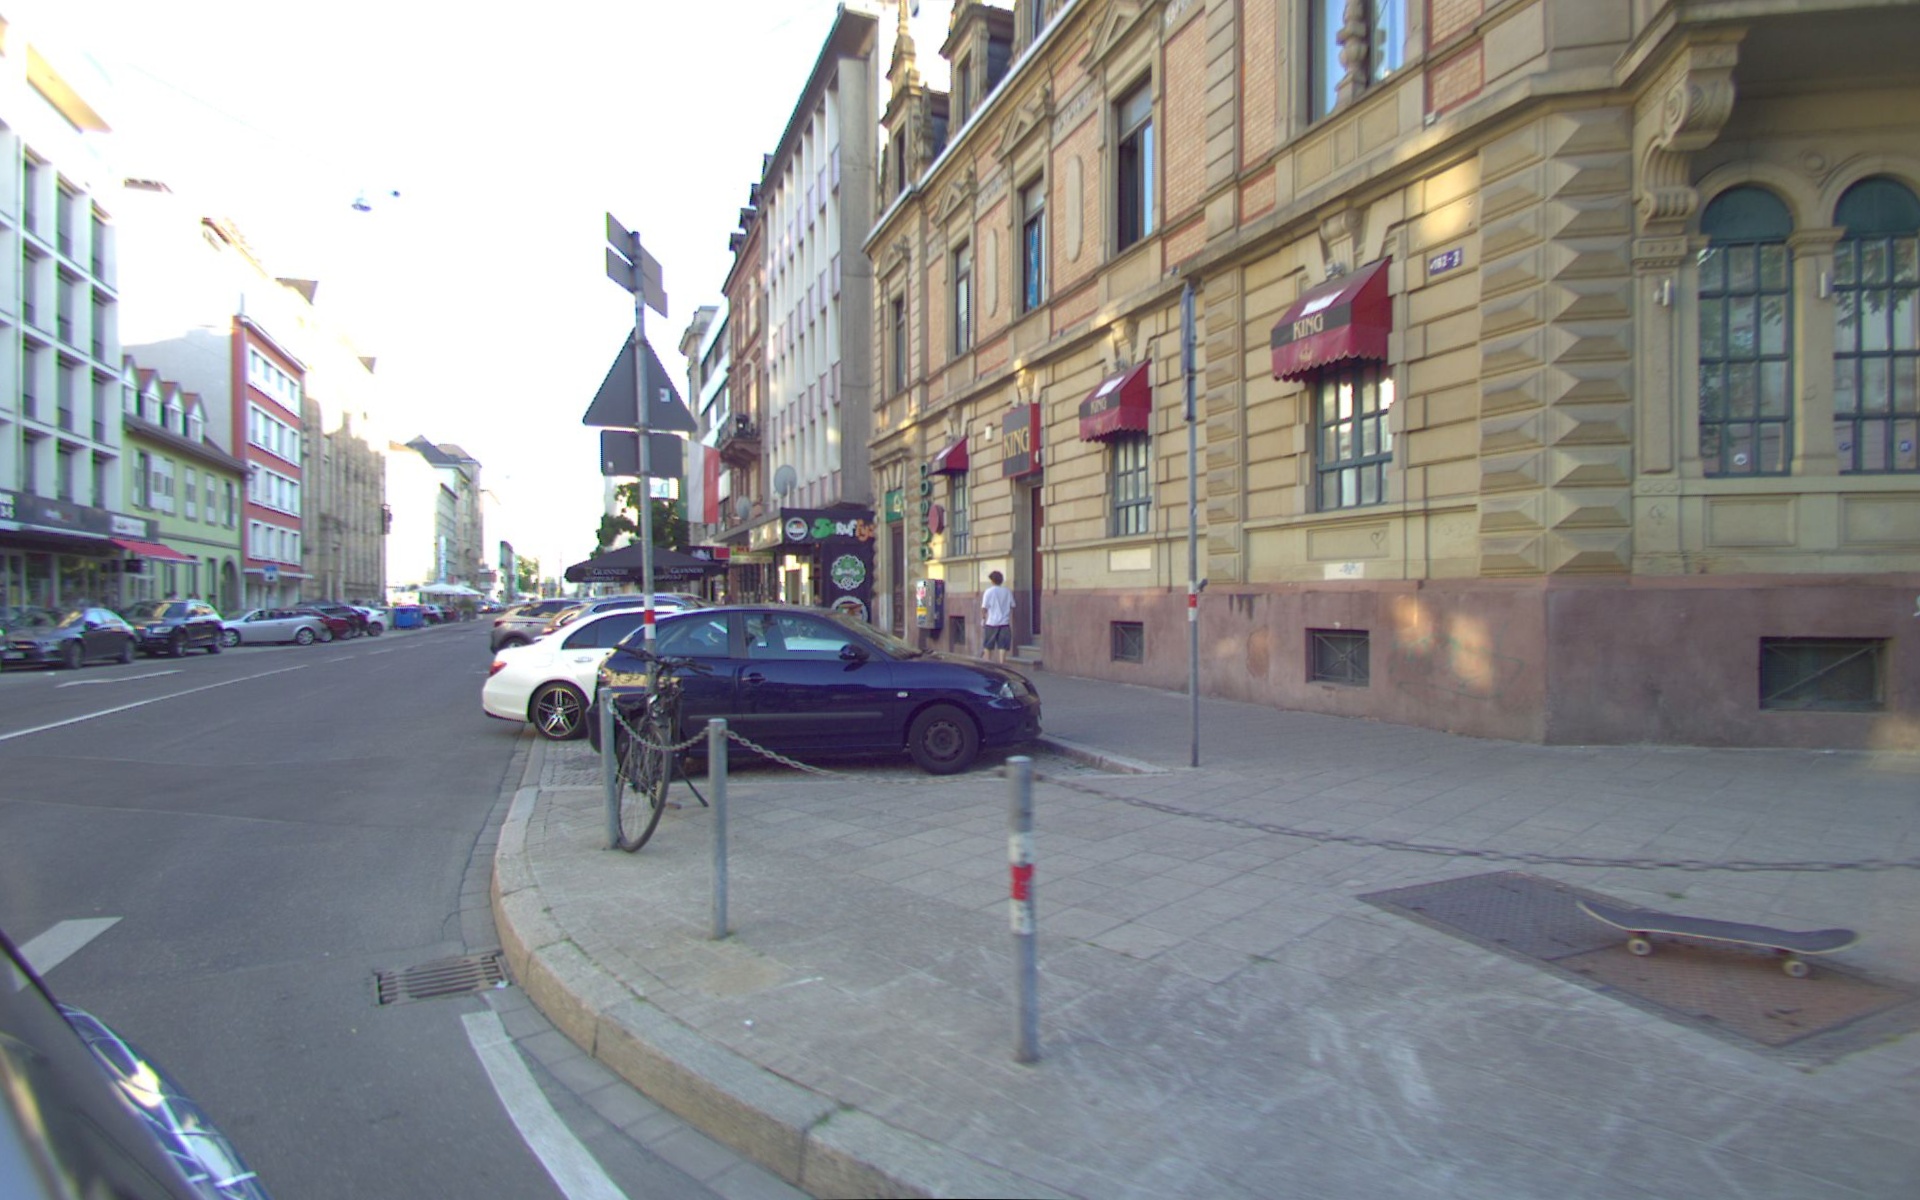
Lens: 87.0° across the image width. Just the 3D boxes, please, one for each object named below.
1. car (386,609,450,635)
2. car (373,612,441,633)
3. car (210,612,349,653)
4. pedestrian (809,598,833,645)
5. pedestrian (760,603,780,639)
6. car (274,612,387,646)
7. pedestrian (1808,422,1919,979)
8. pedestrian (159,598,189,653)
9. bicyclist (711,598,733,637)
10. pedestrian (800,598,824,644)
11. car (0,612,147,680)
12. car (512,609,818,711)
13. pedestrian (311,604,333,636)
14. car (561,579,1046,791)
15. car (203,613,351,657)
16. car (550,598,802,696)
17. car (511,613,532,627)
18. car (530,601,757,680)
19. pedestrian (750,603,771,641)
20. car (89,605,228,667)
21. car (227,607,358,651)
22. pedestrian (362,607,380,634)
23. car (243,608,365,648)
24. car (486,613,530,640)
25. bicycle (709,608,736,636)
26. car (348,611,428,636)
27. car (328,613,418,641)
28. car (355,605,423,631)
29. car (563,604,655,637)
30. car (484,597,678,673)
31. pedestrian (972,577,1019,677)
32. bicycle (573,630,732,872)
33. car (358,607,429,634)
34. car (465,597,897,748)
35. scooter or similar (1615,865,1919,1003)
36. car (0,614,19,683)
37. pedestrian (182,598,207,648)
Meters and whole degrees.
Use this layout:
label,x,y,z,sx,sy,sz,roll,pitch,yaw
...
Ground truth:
label,x,y,z,sx,sy,sz,roll,pitch,yaw
car,-39.362,1.593,73.551,1.755,1.737,3.781,-2,-1,44
car,-38.435,1.577,70.374,1.739,1.357,3.781,-2,-1,44
car,-26.448,1.226,39.432,1.750,1.450,4.178,-1,-1,35
pedestrian,-3.948,0.605,28.717,0.564,1.318,0.577,0,-1,-20
pedestrian,-6.680,0.738,35.558,0.566,1.254,0.677,0,-1,-21
car,-29.267,1.301,47.163,1.752,1.484,4.172,-1,-1,39
pedestrian,3.644,0.307,3.203,1.246,1.752,0.852,-1,1,-9
pedestrian,-30.195,0.984,38.871,0.750,2.083,0.721,0,-1,-22
bicyclist,-9.932,0.728,42.254,0.754,1.571,0.815,-1,0,-21
pedestrian,-4.356,0.608,29.760,0.564,1.318,0.577,0,-1,-20
car,-21.542,1.028,24.307,1.718,1.457,4.573,0,0,-20
car,-4.438,0.883,15.559,4.198,1.458,1.708,0,-1,5
pedestrian,-39.092,1.219,62.018,0.836,1.958,1.015,0,-1,-16
car,-1.227,0.689,8.885,3.813,1.472,1.739,-3,0,4
car,-25.002,1.242,37.197,1.747,1.450,4.185,-1,-1,30
car,-5.018,0.813,18.194,3.999,1.669,1.790,0,-1,5
car,-47.364,2.116,109.381,1.875,1.436,4.440,0,-1,-20
car,-6.567,0.821,21.170,4.249,1.560,1.705,-1,0,10
pedestrian,-6.692,0.725,33.960,0.566,1.254,0.677,0,-1,-21
car,-23.056,0.981,29.321,1.802,1.671,4.376,0,-1,-19
car,-27.523,1.151,41.854,1.750,1.689,4.178,-1,-1,35
pedestrian,-41.274,1.428,70.894,0.836,1.813,1.015,0,-1,-16
car,-28.588,1.199,44.205,1.752,1.629,4.172,-1,-1,39
car,-24.871,1.436,55.802,1.875,1.436,4.440,0,-1,-20
bicycle,-9.929,0.905,42.300,0.754,1.123,2.185,-1,0,-22
car,-36.462,1.489,64.594,1.755,1.484,4.166,-1,-1,44
car,-33.701,1.537,58.197,1.752,1.484,4.172,-1,-1,39
car,-42.981,1.330,76.234,1.755,1.896,4.167,-1,-1,44
car,-19.833,1.138,57.357,4.761,1.787,1.913,0,-1,-13
car,-9.127,0.821,24.610,3.996,1.641,1.853,-2,0,1
pedestrian,0.584,0.443,16.828,0.568,1.621,0.523,-2,0,-20
bicycle,-1.769,0.790,6.075,0.716,1.134,1.808,-3,0,-12
car,-37.659,1.346,67.281,1.755,1.766,3.781,-1,-1,44
car,-3.166,0.812,11.927,4.574,1.523,1.765,-2,0,8
scooter or similar,2.713,1.101,3.382,0.879,0.208,0.413,-1,1,34
car,-19.635,0.973,18.735,1.718,1.398,4.516,0,0,-22
pedestrian,-29.524,0.895,39.043,0.602,1.901,0.721,0,-1,-22
